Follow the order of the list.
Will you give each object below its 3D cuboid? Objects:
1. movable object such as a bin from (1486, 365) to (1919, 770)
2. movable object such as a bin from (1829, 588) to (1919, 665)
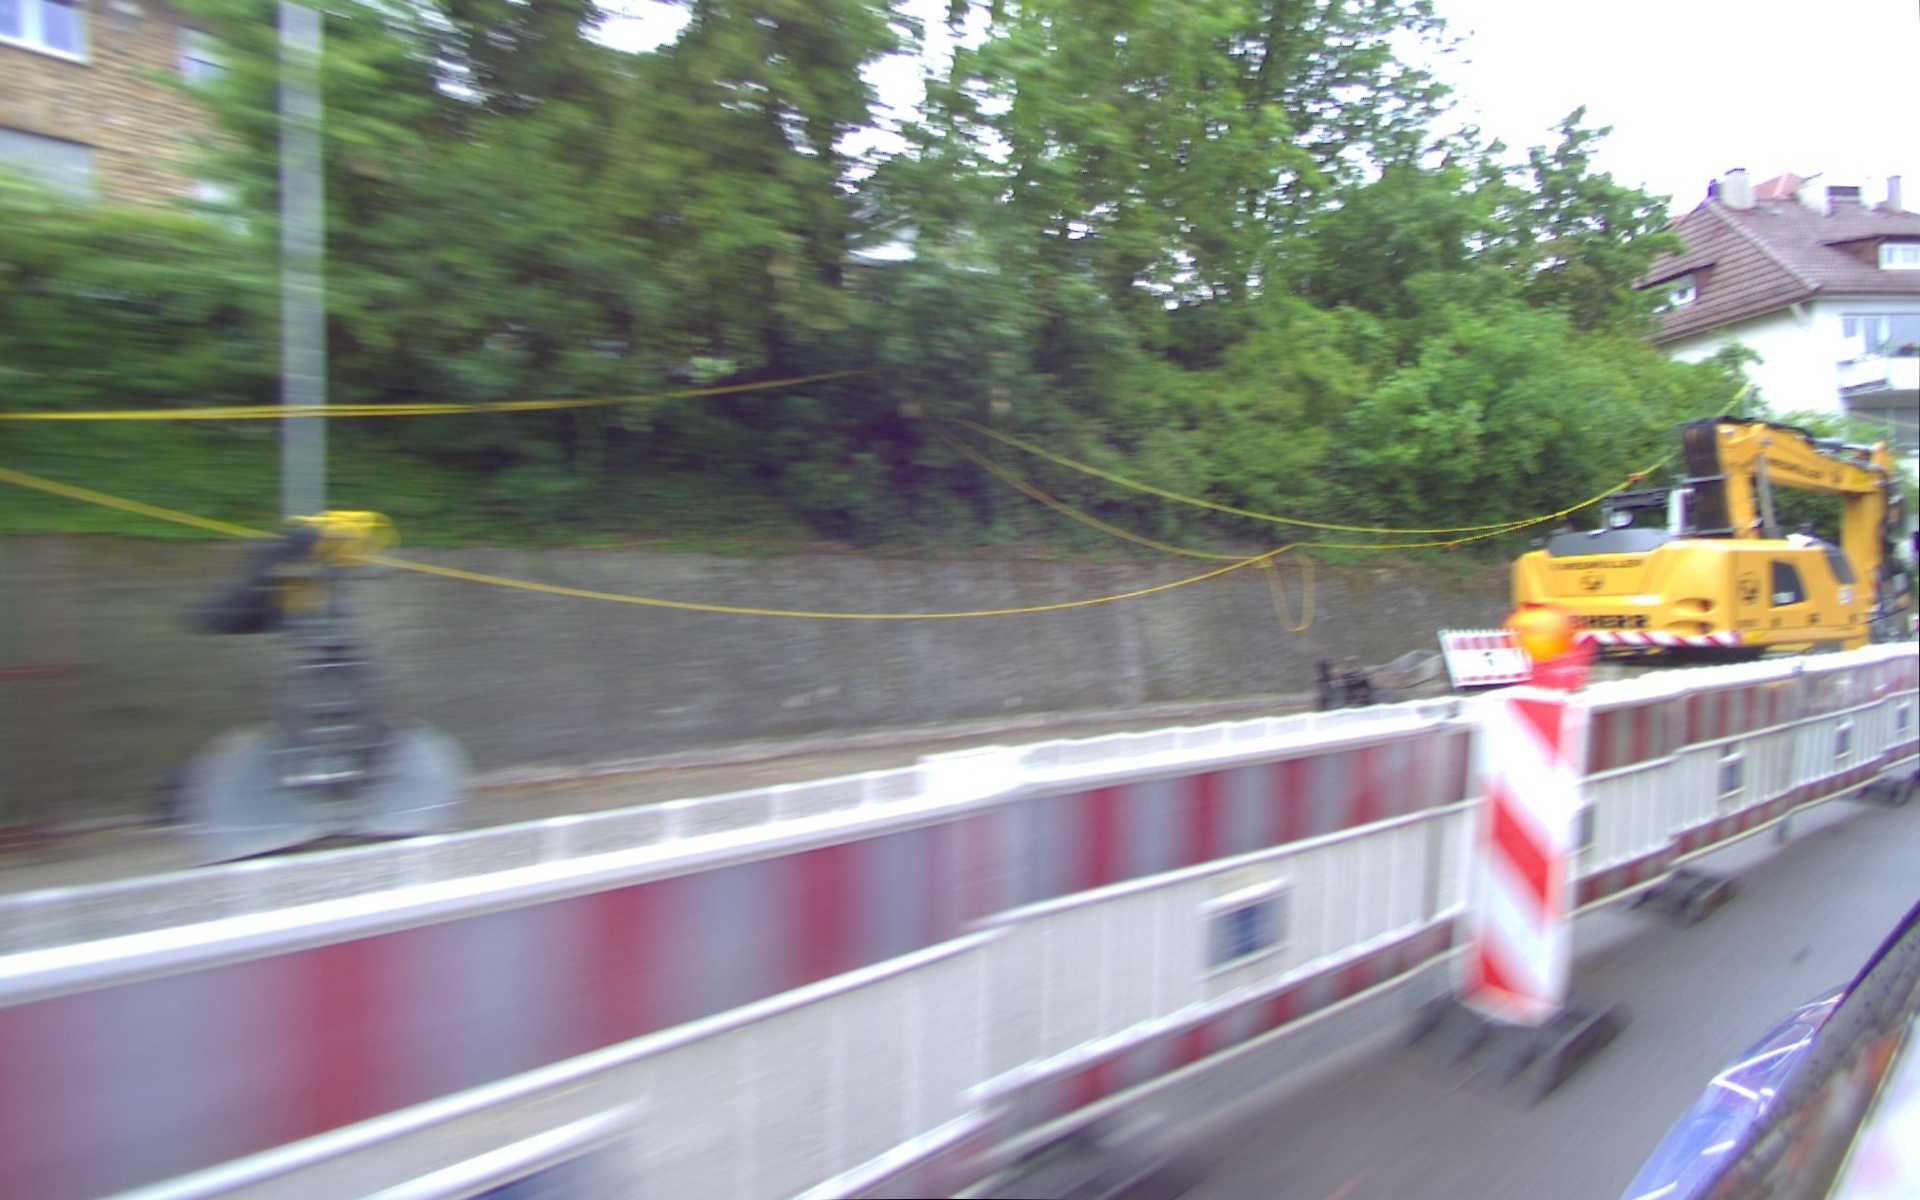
[{"bbox_3d":[10.466,-0.340,13.044,7.176,4.064,2.833,0,1,-27],"label":"movable object such as a bin"},{"bbox_3d":[20.741,0.544,21.361,3.916,1.538,2.004,1,0,-21],"label":"movable object such as a bin"}]
